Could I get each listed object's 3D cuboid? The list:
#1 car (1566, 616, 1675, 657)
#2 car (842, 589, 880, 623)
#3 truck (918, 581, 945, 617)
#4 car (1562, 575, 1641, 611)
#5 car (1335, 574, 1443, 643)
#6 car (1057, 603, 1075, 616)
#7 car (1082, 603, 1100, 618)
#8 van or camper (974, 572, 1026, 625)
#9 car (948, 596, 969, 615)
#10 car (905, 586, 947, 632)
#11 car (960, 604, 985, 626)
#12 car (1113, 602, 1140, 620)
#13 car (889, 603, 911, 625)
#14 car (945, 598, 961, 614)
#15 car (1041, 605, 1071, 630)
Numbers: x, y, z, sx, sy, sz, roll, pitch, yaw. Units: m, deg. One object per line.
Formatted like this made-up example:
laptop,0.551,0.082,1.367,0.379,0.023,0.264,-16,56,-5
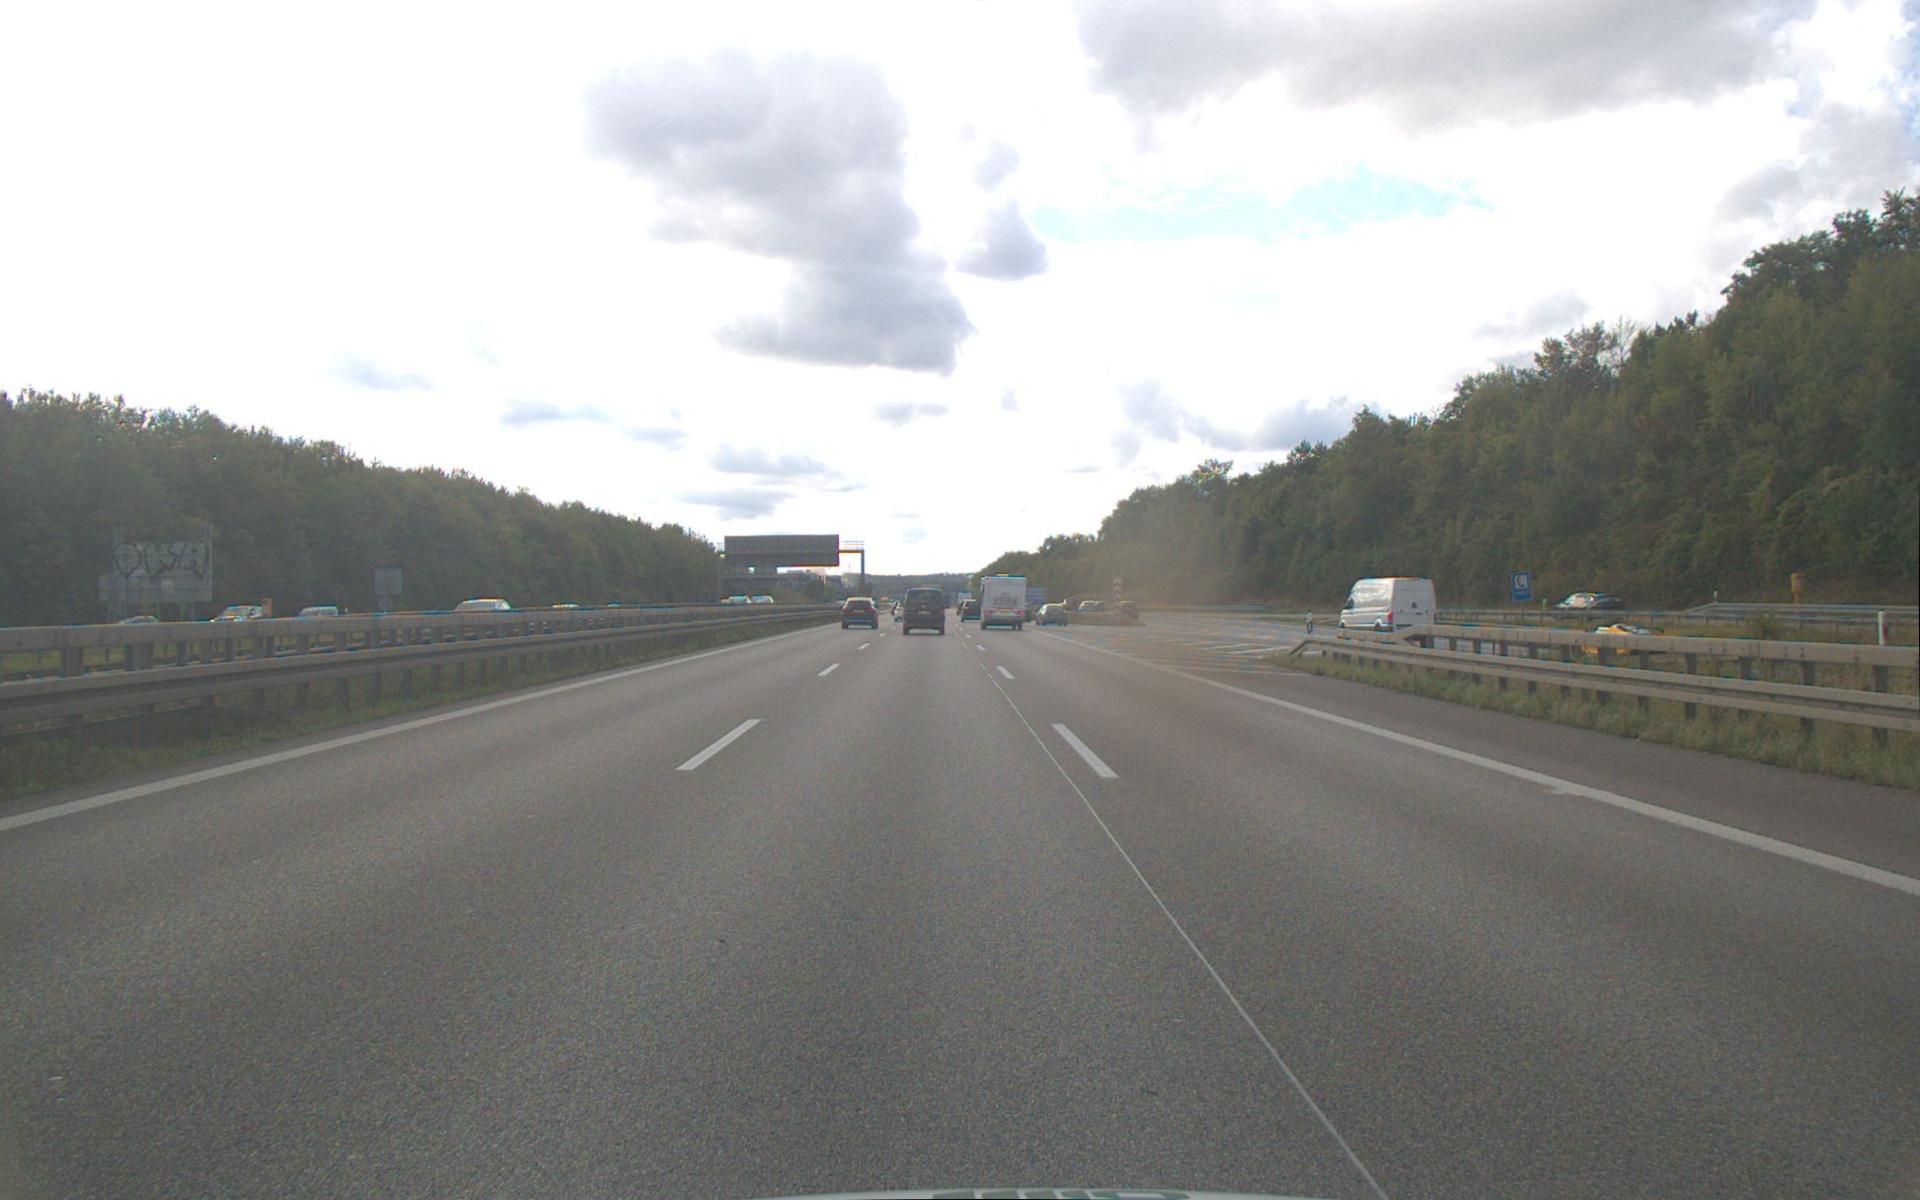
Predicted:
car,20.869,1.125,52.442,1.677,1.202,4.167,0,0,-2
car,-5.149,0.328,86.224,1.835,1.728,4.070,0,-1,-2
truck,-3.630,-0.133,212.560,3.196,4.451,11.024,1,0,0
car,31.024,-0.330,80.167,1.806,1.630,4.762,-2,0,-2
car,16.965,0.323,65.810,2.029,2.599,6.735,-1,0,-5
car,13.528,1.216,211.861,1.806,1.510,4.523,-2,0,-3
car,13.931,1.062,176.103,1.509,1.510,3.941,-2,0,-1
van or camper,2.154,-0.062,91.151,2.419,2.769,7.659,1,0,-2
car,-0.146,0.501,144.148,1.777,1.629,3.999,-1,0,-1
car,-1.502,0.380,72.837,1.817,1.944,4.258,0,0,-2
car,0.913,1.128,124.459,1.663,1.592,4.112,0,0,-2
car,14.426,0.937,143.600,1.806,1.510,4.524,-2,0,-1
car,-4.528,1.037,125.102,1.663,1.639,4.112,0,0,-2
car,-0.820,0.759,201.788,1.874,1.953,4.029,0,0,-2
car,6.487,1.171,112.019,1.663,1.639,3.894,0,0,-2
